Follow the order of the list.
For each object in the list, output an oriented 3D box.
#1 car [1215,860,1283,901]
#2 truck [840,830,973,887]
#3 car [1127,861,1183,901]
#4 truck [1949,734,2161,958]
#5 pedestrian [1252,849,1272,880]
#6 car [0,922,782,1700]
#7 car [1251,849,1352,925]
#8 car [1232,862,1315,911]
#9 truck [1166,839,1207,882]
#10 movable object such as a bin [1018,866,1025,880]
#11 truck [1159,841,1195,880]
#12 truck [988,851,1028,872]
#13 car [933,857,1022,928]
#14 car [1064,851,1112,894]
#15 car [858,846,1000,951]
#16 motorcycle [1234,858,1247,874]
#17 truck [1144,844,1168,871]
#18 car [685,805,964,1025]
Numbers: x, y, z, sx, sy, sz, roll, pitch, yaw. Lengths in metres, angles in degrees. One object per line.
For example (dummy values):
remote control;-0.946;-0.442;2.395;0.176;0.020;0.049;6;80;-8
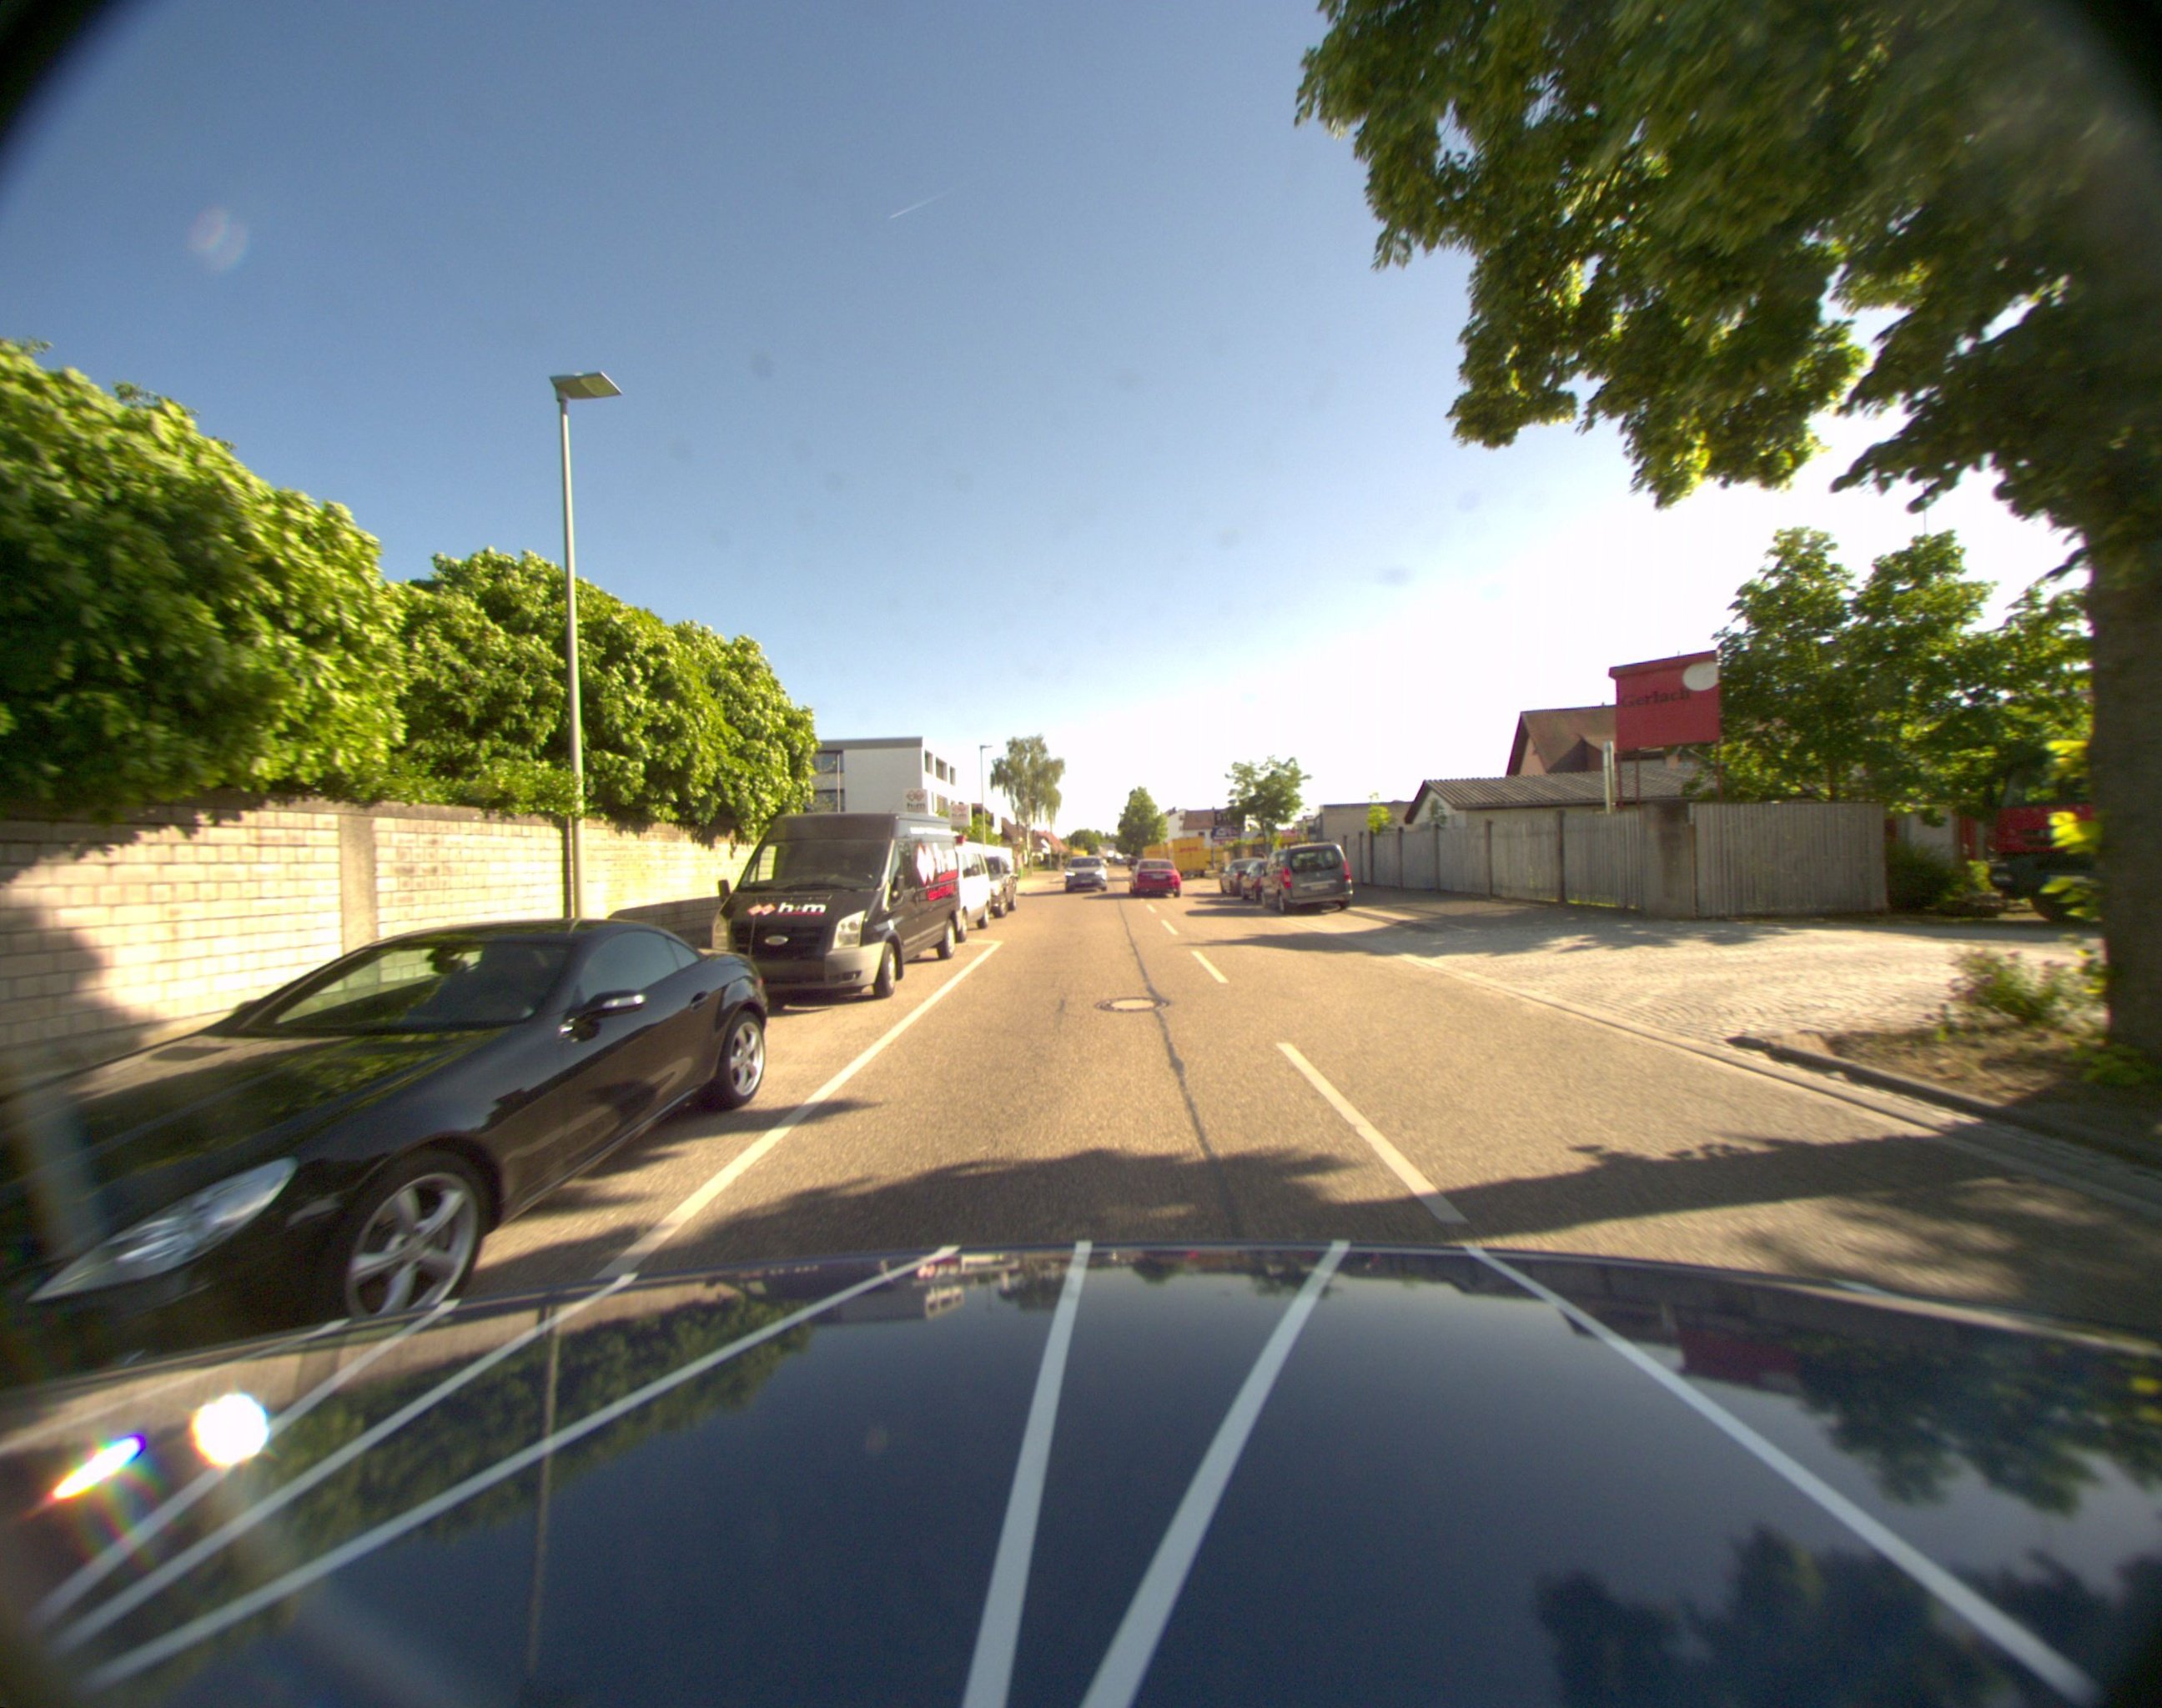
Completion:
car;6.774;1.018;31.142;1.780;1.439;4.924;-3;0;2
truck;-8.980;0.254;39.470;6.237;2.800;2.381;-1;0;5
car;2.804;0.997;29.573;1.874;1.412;4.531;1;0;2
truck;19.733;-0.189;12.645;7.431;3.320;2.902;-1;0;-2
pedestrian;10.468;0.610;43.903;0.820;1.733;0.751;-3;0;-5
car;-3.050;1.142;3.414;1.658;1.310;4.104;-1;0;2
car;6.111;0.845;21.606;1.779;1.838;4.616;-3;0;4
car;6.589;1.054;26.468;1.780;1.439;4.616;-3;0;2
truck;7.308;0.416;53.194;2.173;2.698;5.750;-3;0;2
movable object such as a bin;-4.031;1.276;51.309;0.383;0.950;0.567;-1;0;5
truck;7.541;0.489;60.033;2.145;2.857;5.750;-3;0;2
truck;-8.732;0.924;90.702;4.393;2.451;1.996;-1;0;-23
car;-2.927;1.033;22.567;1.806;1.733;4.912;-3;0;1
car;0.359;0.816;35.154;1.998;1.750;5.016;-2;0;1
car;-3.063;0.839;16.429;1.896;1.914;4.922;-1;0;2
motorcycle;10.520;0.784;50.146;0.537;1.051;2.071;-4;0;5
truck;8.950;0.346;91.111;2.286;3.012;5.911;-3;0;2
car;-3.034;0.645;10.386;1.896;2.246;5.146;-1;0;2
